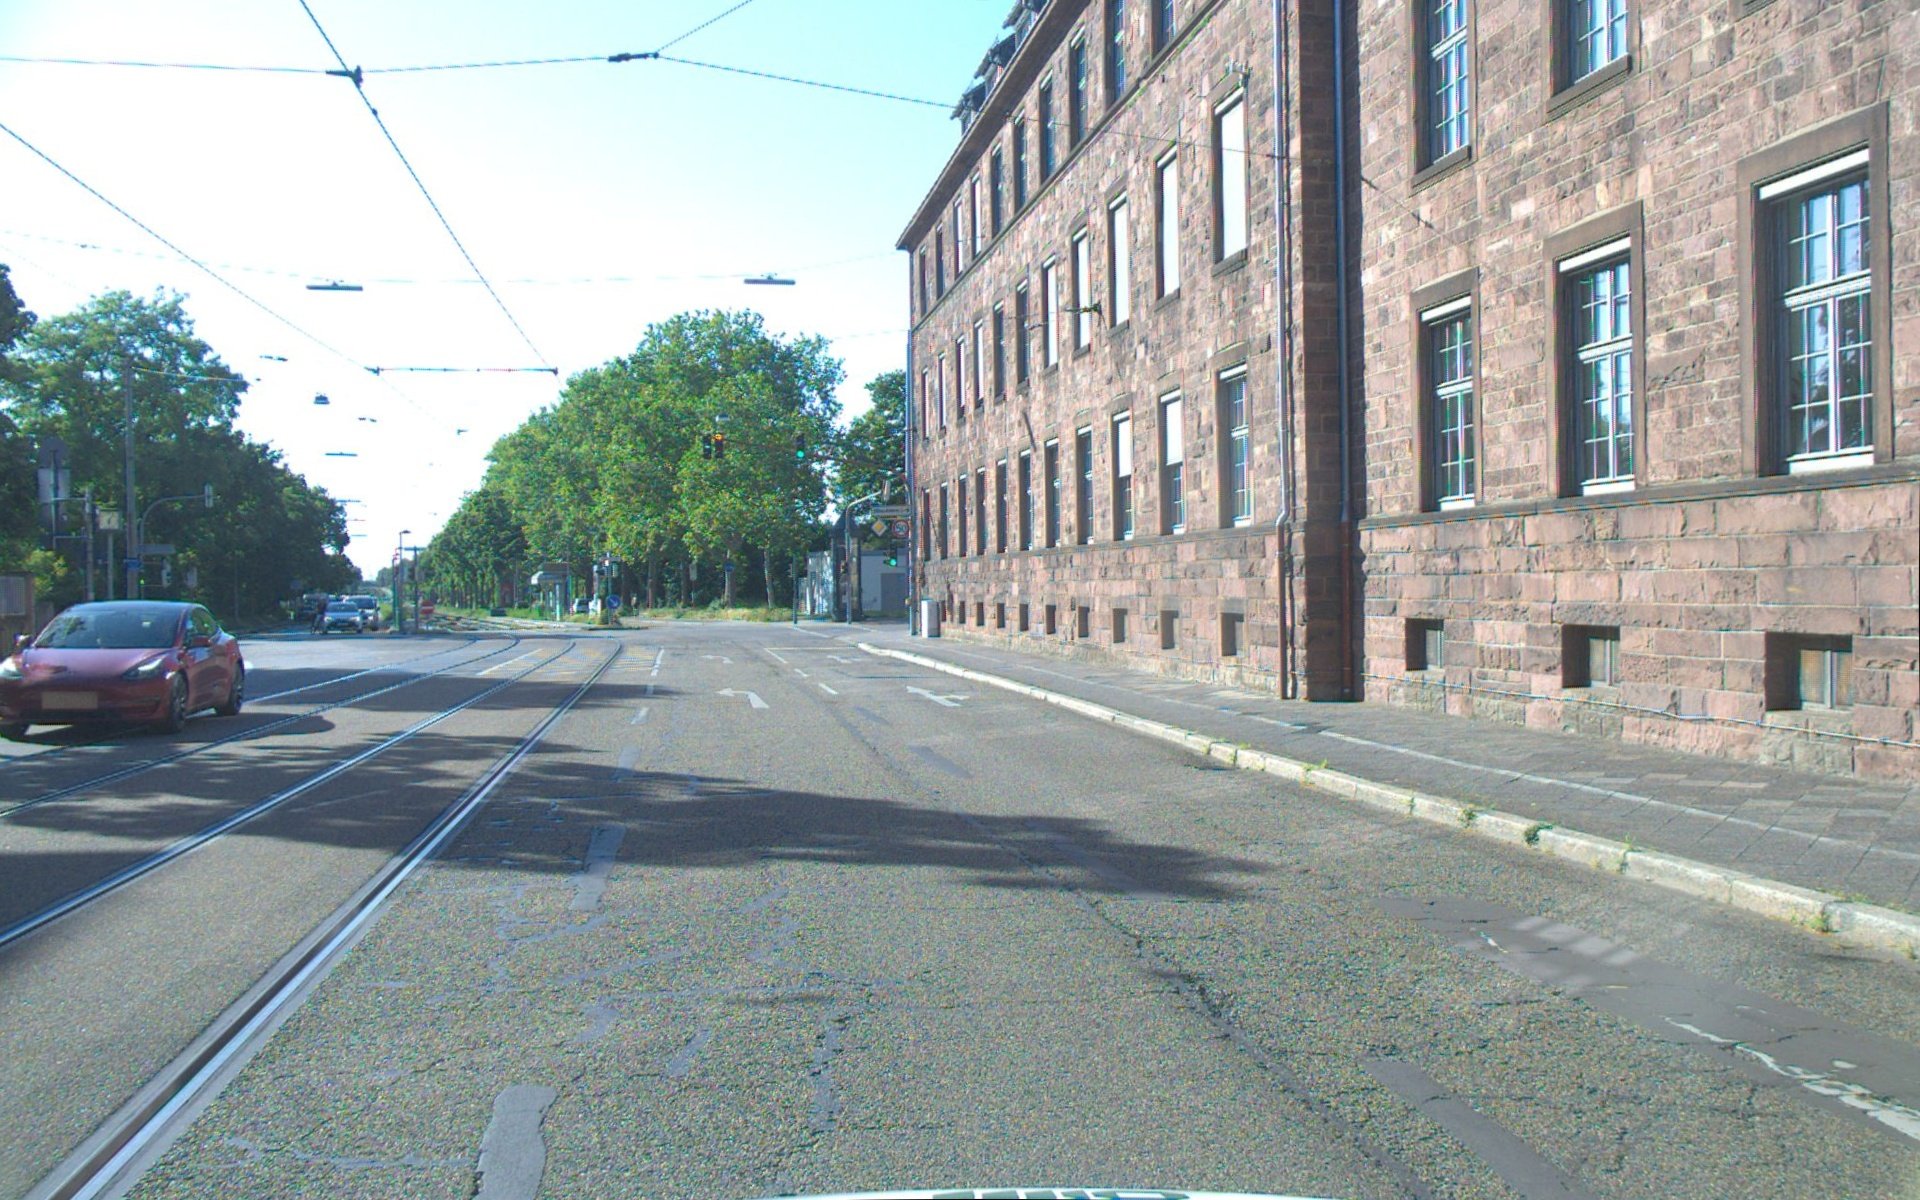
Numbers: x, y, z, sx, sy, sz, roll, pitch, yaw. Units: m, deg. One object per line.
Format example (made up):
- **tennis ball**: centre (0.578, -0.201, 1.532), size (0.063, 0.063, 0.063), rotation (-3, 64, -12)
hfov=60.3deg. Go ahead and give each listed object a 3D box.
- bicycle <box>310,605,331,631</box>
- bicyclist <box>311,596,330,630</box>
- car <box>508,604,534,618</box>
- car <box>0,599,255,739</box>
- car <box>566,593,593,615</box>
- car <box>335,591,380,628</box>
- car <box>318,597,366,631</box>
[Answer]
- **bicycle**: centre (-28.455, 0.800, 73.580), size (0.739, 1.106, 2.160), rotation (0, 0, -25)
- **bicyclist**: centre (-28.429, 0.571, 73.511), size (0.740, 1.530, 0.957), rotation (0, 0, -25)
- **car**: centre (-49.962, 1.243, 188.157), size (1.923, 1.638, 3.959), rotation (0, 0, -30)
- **car**: centre (-9.730, 0.712, 19.408), size (1.888, 1.411, 4.671), rotation (0, 0, -13)
- **car**: centre (-29.706, 0.320, 129.050), size (1.910, 1.638, 3.984), rotation (0, 0, -15)
- **car**: centre (-30.409, 0.448, 83.432), size (1.967, 1.791, 3.971), rotation (0, 0, -23)
- **car**: centre (-28.846, 0.615, 77.152), size (1.967, 1.531, 3.971), rotation (0, 0, -23)
